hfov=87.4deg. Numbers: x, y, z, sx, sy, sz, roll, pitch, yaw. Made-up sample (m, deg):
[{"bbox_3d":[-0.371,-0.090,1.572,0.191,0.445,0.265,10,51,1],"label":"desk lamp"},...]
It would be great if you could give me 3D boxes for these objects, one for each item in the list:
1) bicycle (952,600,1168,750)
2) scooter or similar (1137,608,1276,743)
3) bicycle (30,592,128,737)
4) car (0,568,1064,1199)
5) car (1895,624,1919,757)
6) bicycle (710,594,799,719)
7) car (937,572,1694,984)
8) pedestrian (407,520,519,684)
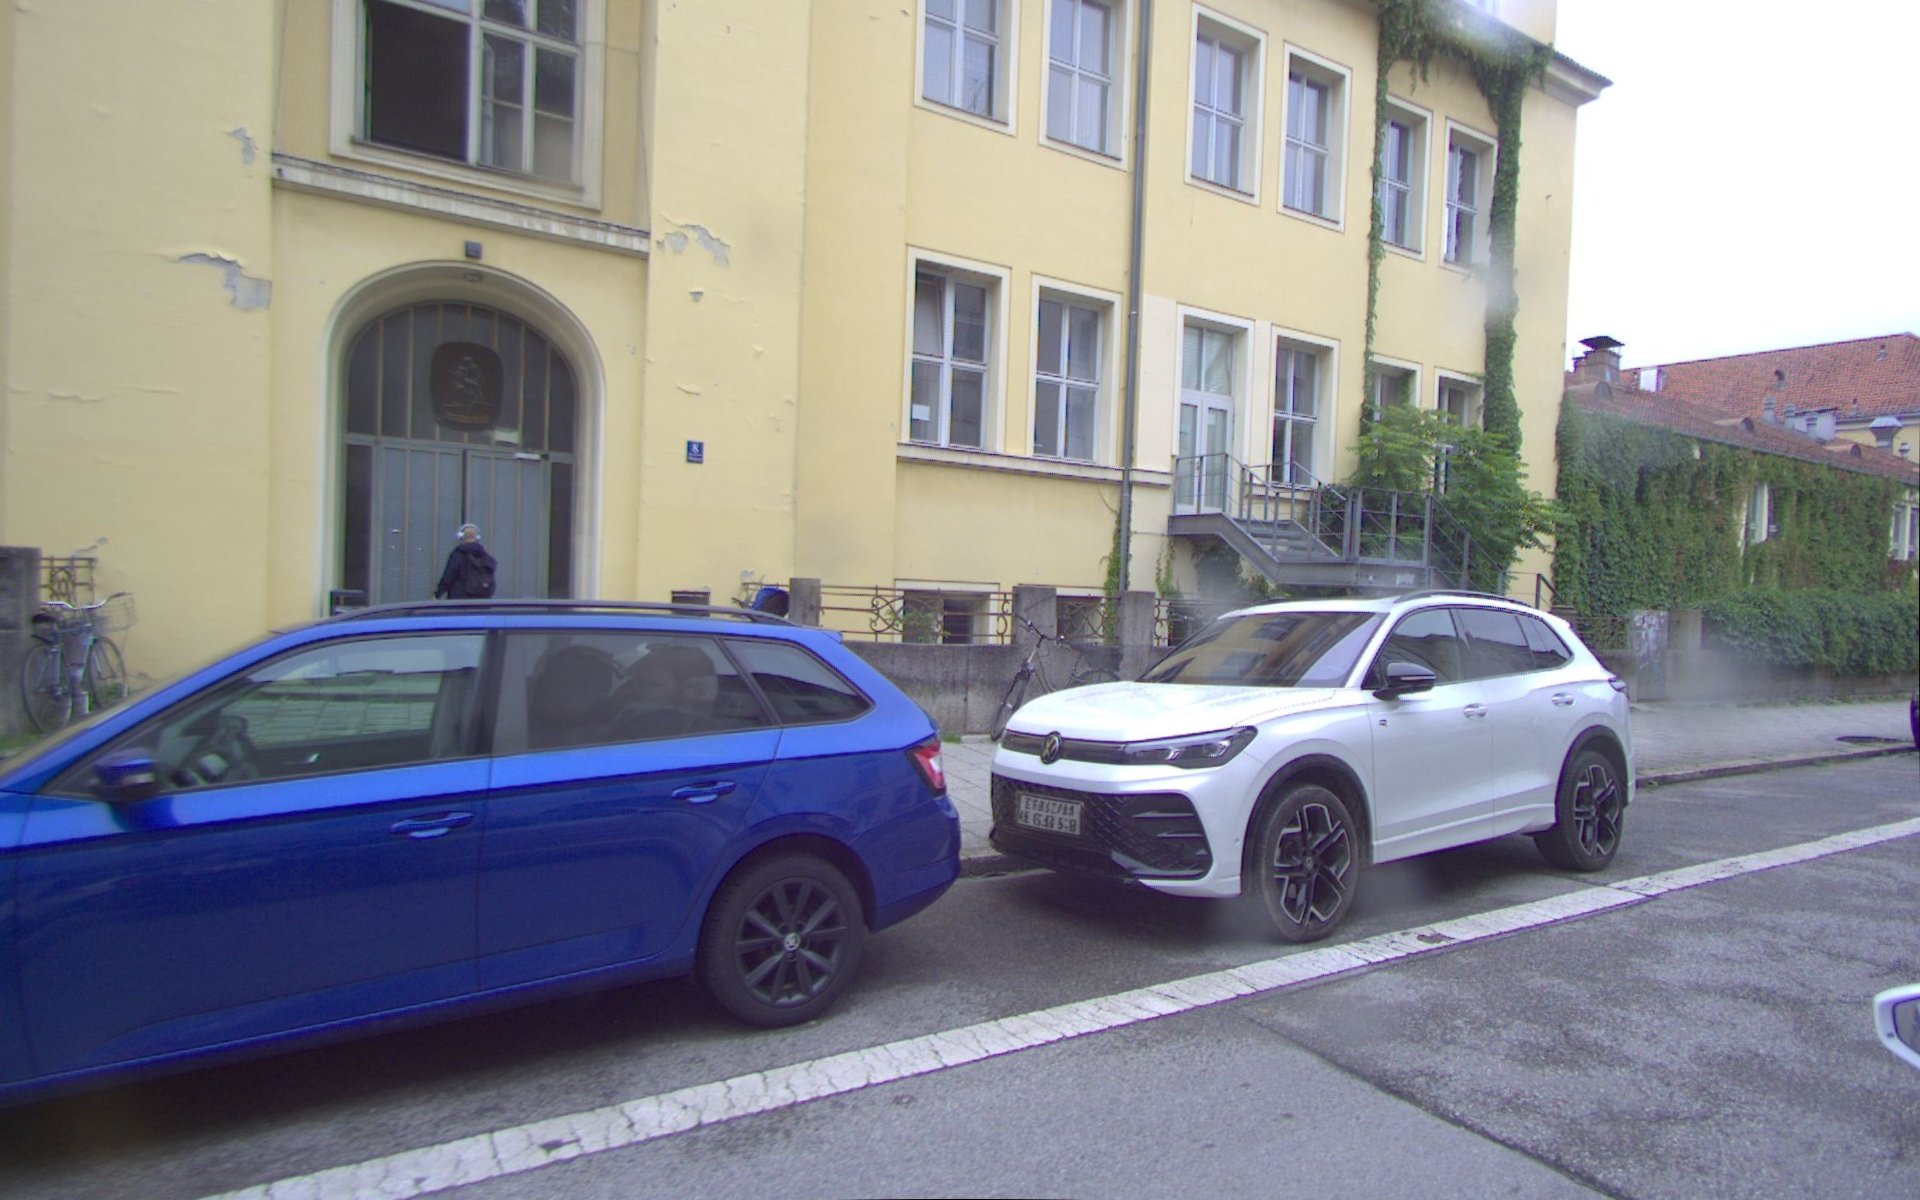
[{"bbox_3d":[1.016,0.718,9.976,2.088,1.346,0.677,2,1,-30],"label":"bicycle"},{"bbox_3d":[2.714,0.803,11.020,1.483,1.387,0.557,1,0,-30],"label":"scooter or similar"},{"bbox_3d":[-7.193,0.479,8.247,0.422,1.064,1.645,1,0,-35],"label":"bicycle"},{"bbox_3d":[-1.907,0.772,3.672,4.444,1.521,1.695,2,-5,-31],"label":"car"},{"bbox_3d":[13.997,1.151,12.861,4.764,1.607,1.780,2,-2,-32],"label":"car"},{"bbox_3d":[-2.316,0.583,11.187,0.520,1.285,1.619,1,0,-28],"label":"bicycle"},{"bbox_3d":[2.366,0.785,6.085,4.803,1.655,1.736,2,-1,-33],"label":"car"},{"bbox_3d":[-5.562,0.033,11.303,0.889,1.742,1.055,1,0,-14],"label":"pedestrian"}]
